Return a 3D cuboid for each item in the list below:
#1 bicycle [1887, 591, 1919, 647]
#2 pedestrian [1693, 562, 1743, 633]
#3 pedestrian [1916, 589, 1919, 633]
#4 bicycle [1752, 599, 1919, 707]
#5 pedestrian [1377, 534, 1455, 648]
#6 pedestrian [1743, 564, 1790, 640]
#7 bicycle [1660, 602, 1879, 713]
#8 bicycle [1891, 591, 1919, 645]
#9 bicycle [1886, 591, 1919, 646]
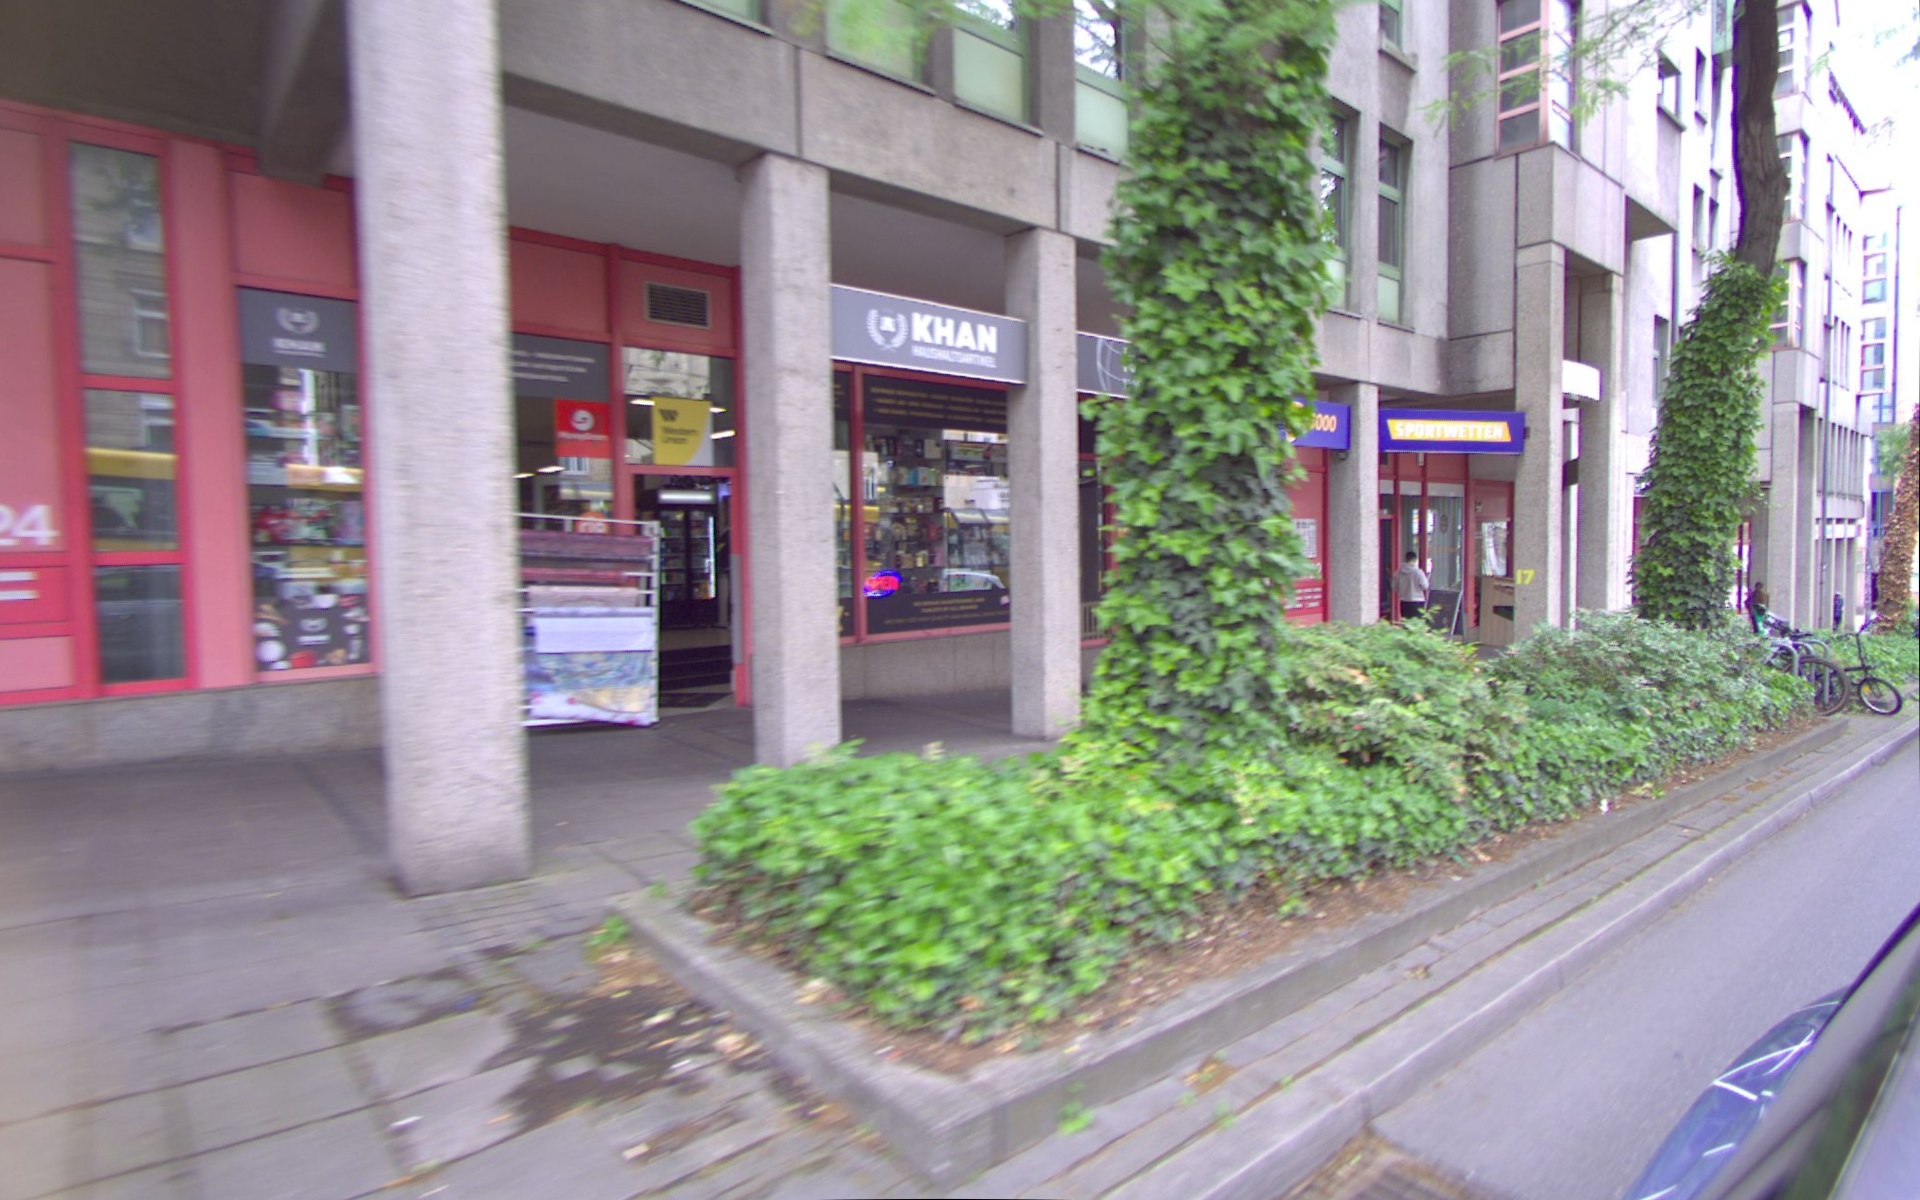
[{"bbox_3d":[21.575,0.449,22.250,1.708,1.198,0.442,4,4,43],"label":"bicycle"},{"bbox_3d":[20.140,-0.079,26.881,0.710,1.825,0.834,2,2,-40],"label":"pedestrian"},{"bbox_3d":[30.488,0.343,31.915,0.511,1.350,0.471,-2,1,-44],"label":"pedestrian"},{"bbox_3d":[10.823,0.607,12.385,0.602,1.141,1.626,0,4,-36],"label":"bicycle"},{"bbox_3d":[7.584,-0.161,16.840,0.710,1.825,0.834,2,2,-37],"label":"pedestrian"},{"bbox_3d":[19.715,0.033,24.738,0.762,1.804,0.834,4,3,45],"label":"pedestrian"},{"bbox_3d":[9.566,0.632,12.031,0.603,1.089,1.919,-1,4,-42],"label":"bicycle"},{"bbox_3d":[22.237,0.433,22.876,1.708,1.198,0.442,4,4,43],"label":"bicycle"},{"bbox_3d":[21.878,0.437,22.602,1.708,1.198,0.442,4,4,43],"label":"bicycle"}]
